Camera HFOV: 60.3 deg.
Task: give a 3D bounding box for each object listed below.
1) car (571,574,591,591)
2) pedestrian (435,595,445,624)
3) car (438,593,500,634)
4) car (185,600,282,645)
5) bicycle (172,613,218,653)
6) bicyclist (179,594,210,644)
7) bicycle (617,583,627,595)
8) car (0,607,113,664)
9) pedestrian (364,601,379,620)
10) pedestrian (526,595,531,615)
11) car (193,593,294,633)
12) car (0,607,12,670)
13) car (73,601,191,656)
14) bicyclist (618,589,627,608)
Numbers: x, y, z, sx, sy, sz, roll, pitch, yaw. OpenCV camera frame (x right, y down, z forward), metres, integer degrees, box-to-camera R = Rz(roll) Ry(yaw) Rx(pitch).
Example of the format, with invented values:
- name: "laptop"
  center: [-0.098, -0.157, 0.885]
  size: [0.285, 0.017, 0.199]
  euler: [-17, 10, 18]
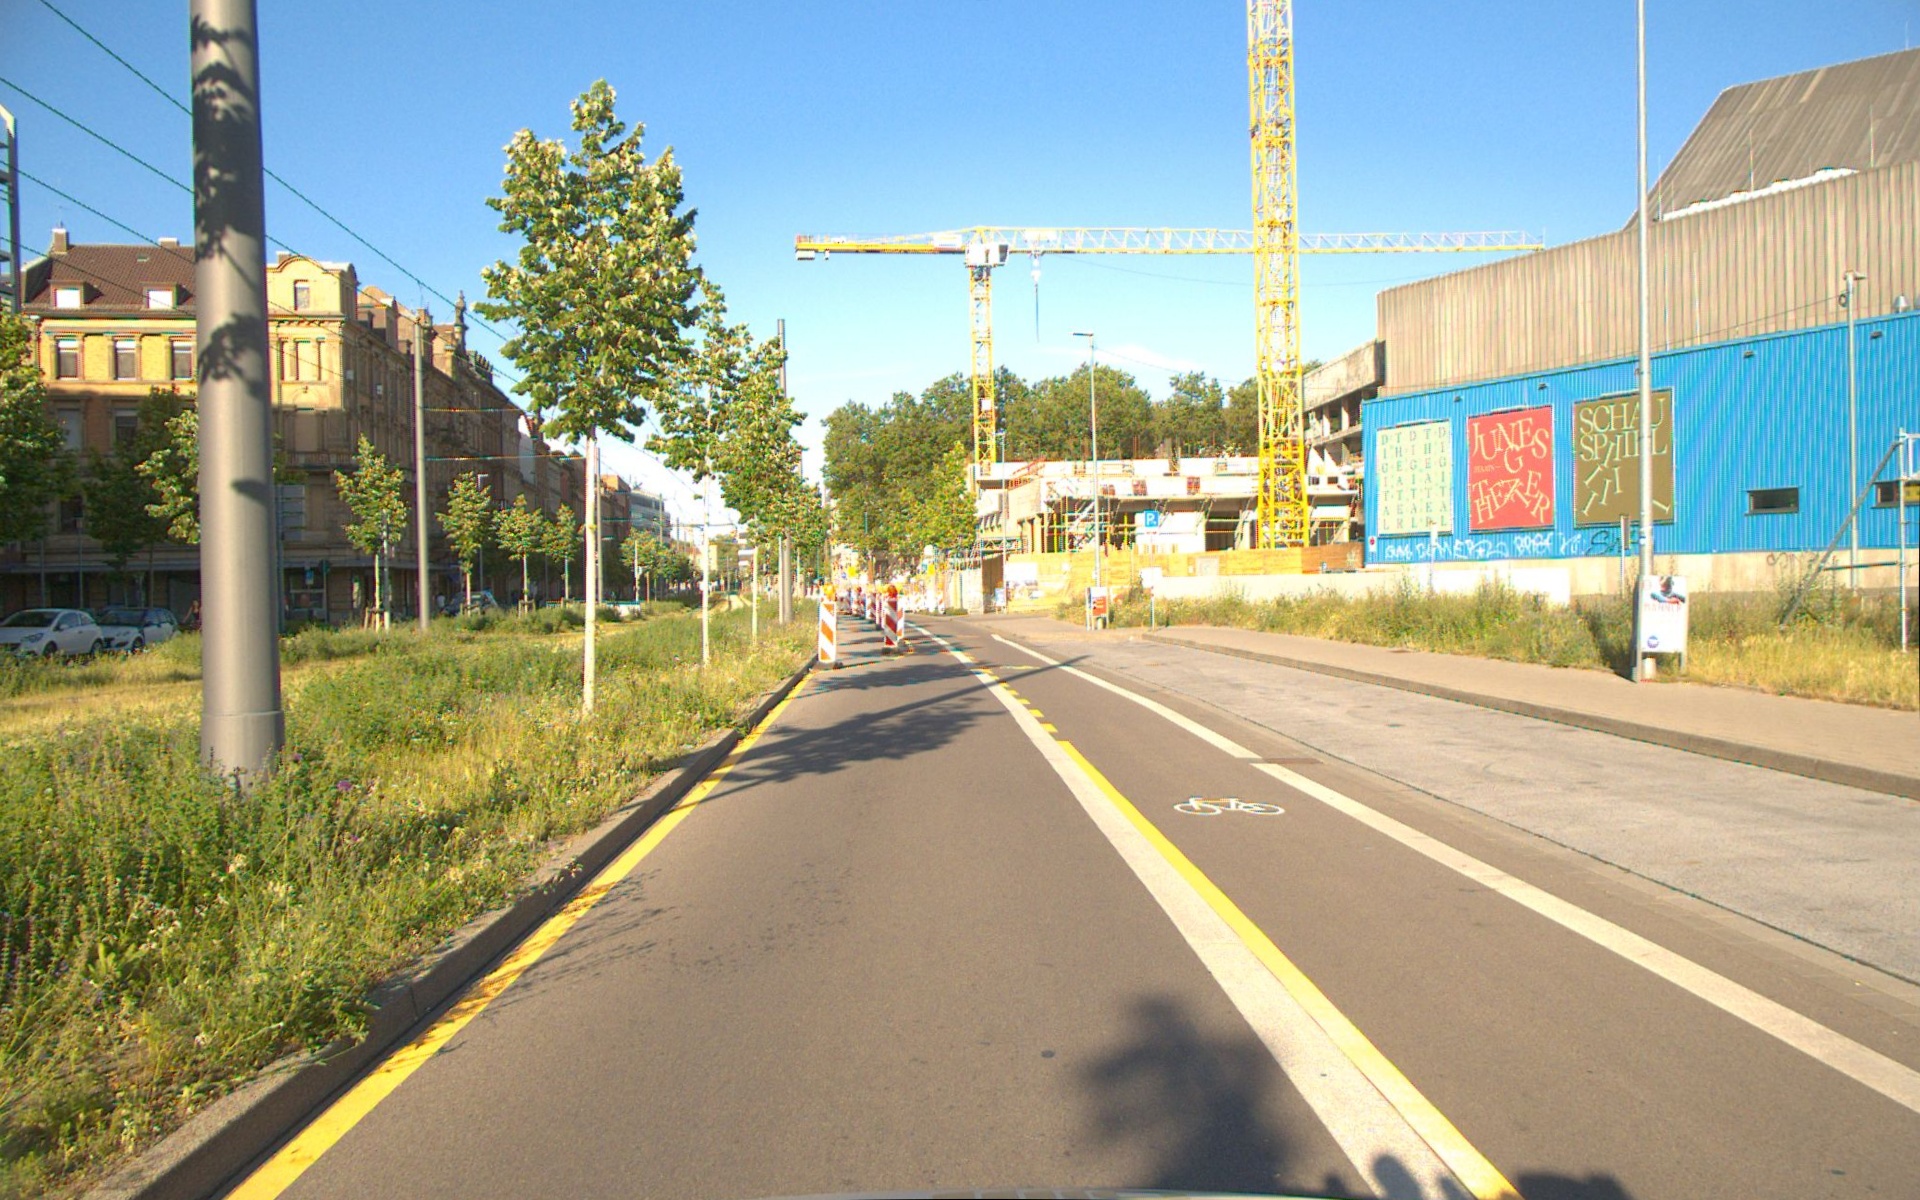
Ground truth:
- name: "car"
  center: [-38.404, -1.782, 167.791]
  size: [1.537, 1.590, 4.706]
  euler: [-1, 1, -8]
- name: "pedestrian"
  center: [-32.647, 0.576, 103.788]
  size: [0.498, 1.795, 0.405]
  euler: [1, 0, -8]
- name: "car"
  center: [-21.965, 0.583, 74.146]
  size: [1.693, 1.777, 4.119]
  euler: [-1, 0, -2]
- name: "car"
  center: [-25.895, 0.777, 59.098]
  size: [1.694, 1.487, 3.900]
  euler: [1, 1, 0]
- name: "bicycle"
  center: [-22.936, 0.985, 49.606]
  size: [0.553, 1.115, 1.770]
  euler: [-2, 1, -1]
- name: "bicyclist"
  center: [-22.947, 0.568, 49.578]
  size: [0.553, 1.482, 0.706]
  euler: [-2, 1, -1]
- name: "bicycle"
  center: [-30.169, -0.992, 147.661]
  size: [0.682, 0.995, 1.824]
  euler: [-1, 0, -7]
- name: "car"
  center: [-25.006, 0.937, 45.390]
  size: [1.591, 1.466, 3.819]
  euler: [0, 0, 0]
- name: "pedestrian"
  center: [-34.003, 0.592, 95.608]
  size: [0.677, 1.078, 0.735]
  euler: [-1, 0, -7]
- name: "pedestrian"
  center: [-39.427, 0.478, 151.237]
  size: [0.360, 1.795, 0.405]
  euler: [1, 0, -8]
- name: "car"
  center: [-36.801, 0.643, 85.065]
  size: [4.431, 1.936, 1.892]
  euler: [-2, 0, -13]
- name: "car"
  center: [-24.954, 0.993, 40.089]
  size: [1.702, 1.563, 3.884]
  euler: [0, 1, 0]
- name: "car"
  center: [-25.426, 0.844, 50.929]
  size: [1.615, 1.581, 3.966]
  euler: [-1, 0, 0]
- name: "bicyclist"
  center: [-30.202, -0.097, 148.116]
  size: [0.682, 1.686, 0.881]
  euler: [-1, 0, -7]
